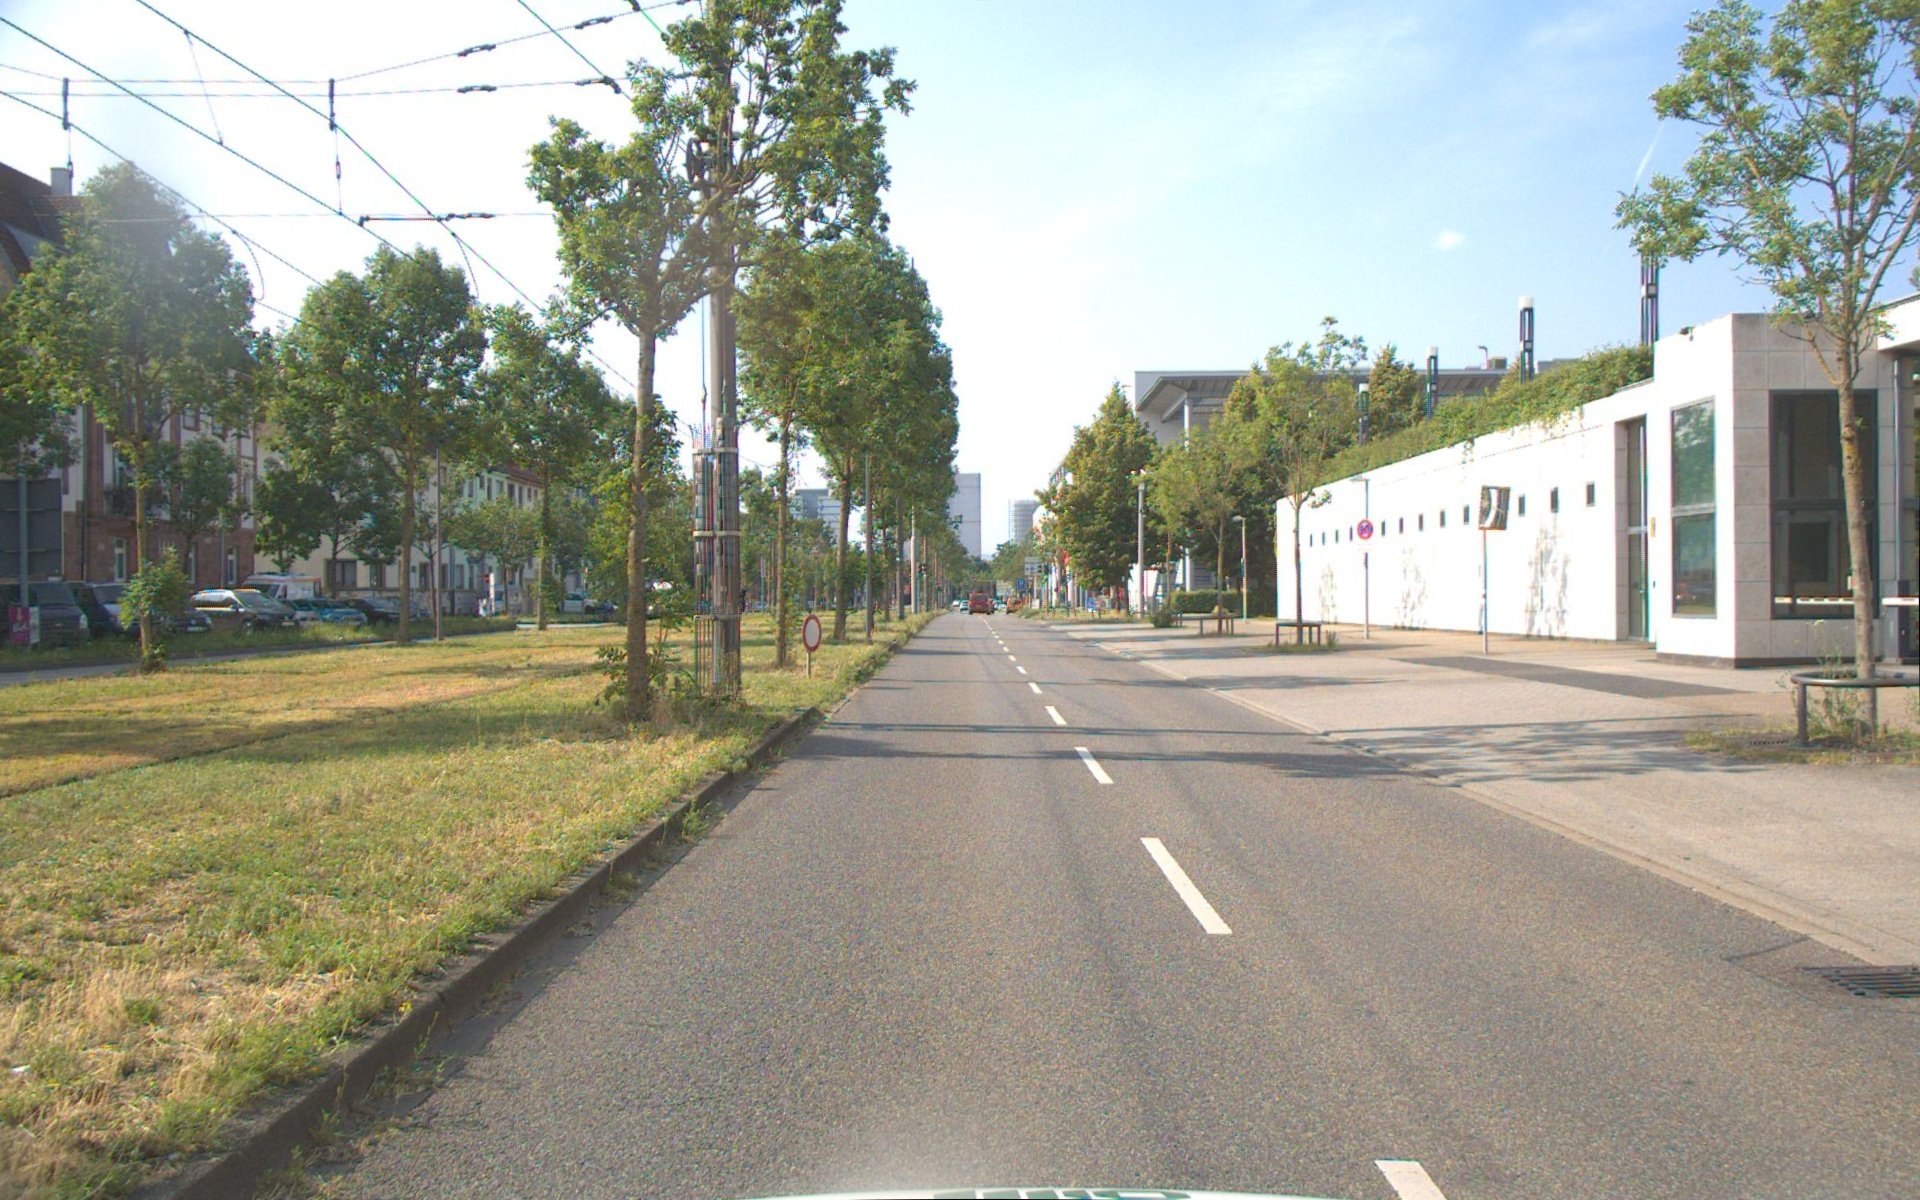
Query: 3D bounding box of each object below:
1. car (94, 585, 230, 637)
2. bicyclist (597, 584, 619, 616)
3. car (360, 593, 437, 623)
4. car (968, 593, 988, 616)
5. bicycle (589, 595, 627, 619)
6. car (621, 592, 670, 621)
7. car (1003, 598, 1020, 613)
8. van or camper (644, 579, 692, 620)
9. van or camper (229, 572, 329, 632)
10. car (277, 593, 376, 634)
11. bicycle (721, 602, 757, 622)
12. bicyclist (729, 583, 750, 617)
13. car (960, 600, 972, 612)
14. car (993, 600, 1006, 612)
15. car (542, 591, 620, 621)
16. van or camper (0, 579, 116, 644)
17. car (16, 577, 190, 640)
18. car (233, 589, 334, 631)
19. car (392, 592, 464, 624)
[{"bbox_3d":[-24.435,0.332,50.614,4.389,1.444,1.967,2,0,37],"label":"car"},{"bbox_3d":[-20.386,-0.009,95.793,1.126,1.792,0.685,2,-1,-9],"label":"bicyclist"},{"bbox_3d":[-24.089,0.326,70.914,3.098,1.181,1.493,2,0,33],"label":"car"},{"bbox_3d":[1.612,0.424,148.978,1.712,2.049,3.216,2,0,1],"label":"car"},{"bbox_3d":[-20.375,0.408,95.785,2.028,1.347,0.782,2,-1,-9],"label":"bicycle"},{"bbox_3d":[-19.756,0.446,104.066,1.924,1.723,4.299,2,0,4],"label":"car"},{"bbox_3d":[5.731,0.611,183.884,1.712,1.679,3.216,2,0,1],"label":"car"},{"bbox_3d":[-19.537,-0.005,111.016,2.158,2.575,6.029,2,0,-1],"label":"van or camper"},{"bbox_3d":[-31.522,0.087,76.805,1.997,2.612,6.355,2,0,-1],"label":"van or camper"},{"bbox_3d":[-24.376,0.509,63.603,3.917,1.442,1.572,2,0,33],"label":"car"},{"bbox_3d":[-12.927,0.695,96.814,2.027,1.060,0.667,2,-1,-7],"label":"bicycle"},{"bbox_3d":[-12.897,-0.003,96.841,1.124,1.968,0.685,2,-1,-5],"label":"bicyclist"},{"bbox_3d":[0.904,0.875,243.355,1.712,1.679,3.216,2,0,1],"label":"car"},{"bbox_3d":[5.683,0.884,238.007,1.712,1.679,3.216,2,0,1],"label":"car"},{"bbox_3d":[-25.082,0.382,109.493,5.217,1.768,1.994,2,0,34],"label":"car"},{"bbox_3d":[-25.294,0.271,45.003,4.749,1.652,1.997,2,0,33],"label":"van or camper"},{"bbox_3d":[-24.818,0.232,47.861,5.109,1.652,2.052,2,0,31],"label":"car"},{"bbox_3d":[-25.100,0.356,61.344,3.919,1.442,1.571,2,0,35],"label":"car"},{"bbox_3d":[-24.142,0.368,75.020,3.099,1.350,1.492,2,0,34],"label":"car"}]
